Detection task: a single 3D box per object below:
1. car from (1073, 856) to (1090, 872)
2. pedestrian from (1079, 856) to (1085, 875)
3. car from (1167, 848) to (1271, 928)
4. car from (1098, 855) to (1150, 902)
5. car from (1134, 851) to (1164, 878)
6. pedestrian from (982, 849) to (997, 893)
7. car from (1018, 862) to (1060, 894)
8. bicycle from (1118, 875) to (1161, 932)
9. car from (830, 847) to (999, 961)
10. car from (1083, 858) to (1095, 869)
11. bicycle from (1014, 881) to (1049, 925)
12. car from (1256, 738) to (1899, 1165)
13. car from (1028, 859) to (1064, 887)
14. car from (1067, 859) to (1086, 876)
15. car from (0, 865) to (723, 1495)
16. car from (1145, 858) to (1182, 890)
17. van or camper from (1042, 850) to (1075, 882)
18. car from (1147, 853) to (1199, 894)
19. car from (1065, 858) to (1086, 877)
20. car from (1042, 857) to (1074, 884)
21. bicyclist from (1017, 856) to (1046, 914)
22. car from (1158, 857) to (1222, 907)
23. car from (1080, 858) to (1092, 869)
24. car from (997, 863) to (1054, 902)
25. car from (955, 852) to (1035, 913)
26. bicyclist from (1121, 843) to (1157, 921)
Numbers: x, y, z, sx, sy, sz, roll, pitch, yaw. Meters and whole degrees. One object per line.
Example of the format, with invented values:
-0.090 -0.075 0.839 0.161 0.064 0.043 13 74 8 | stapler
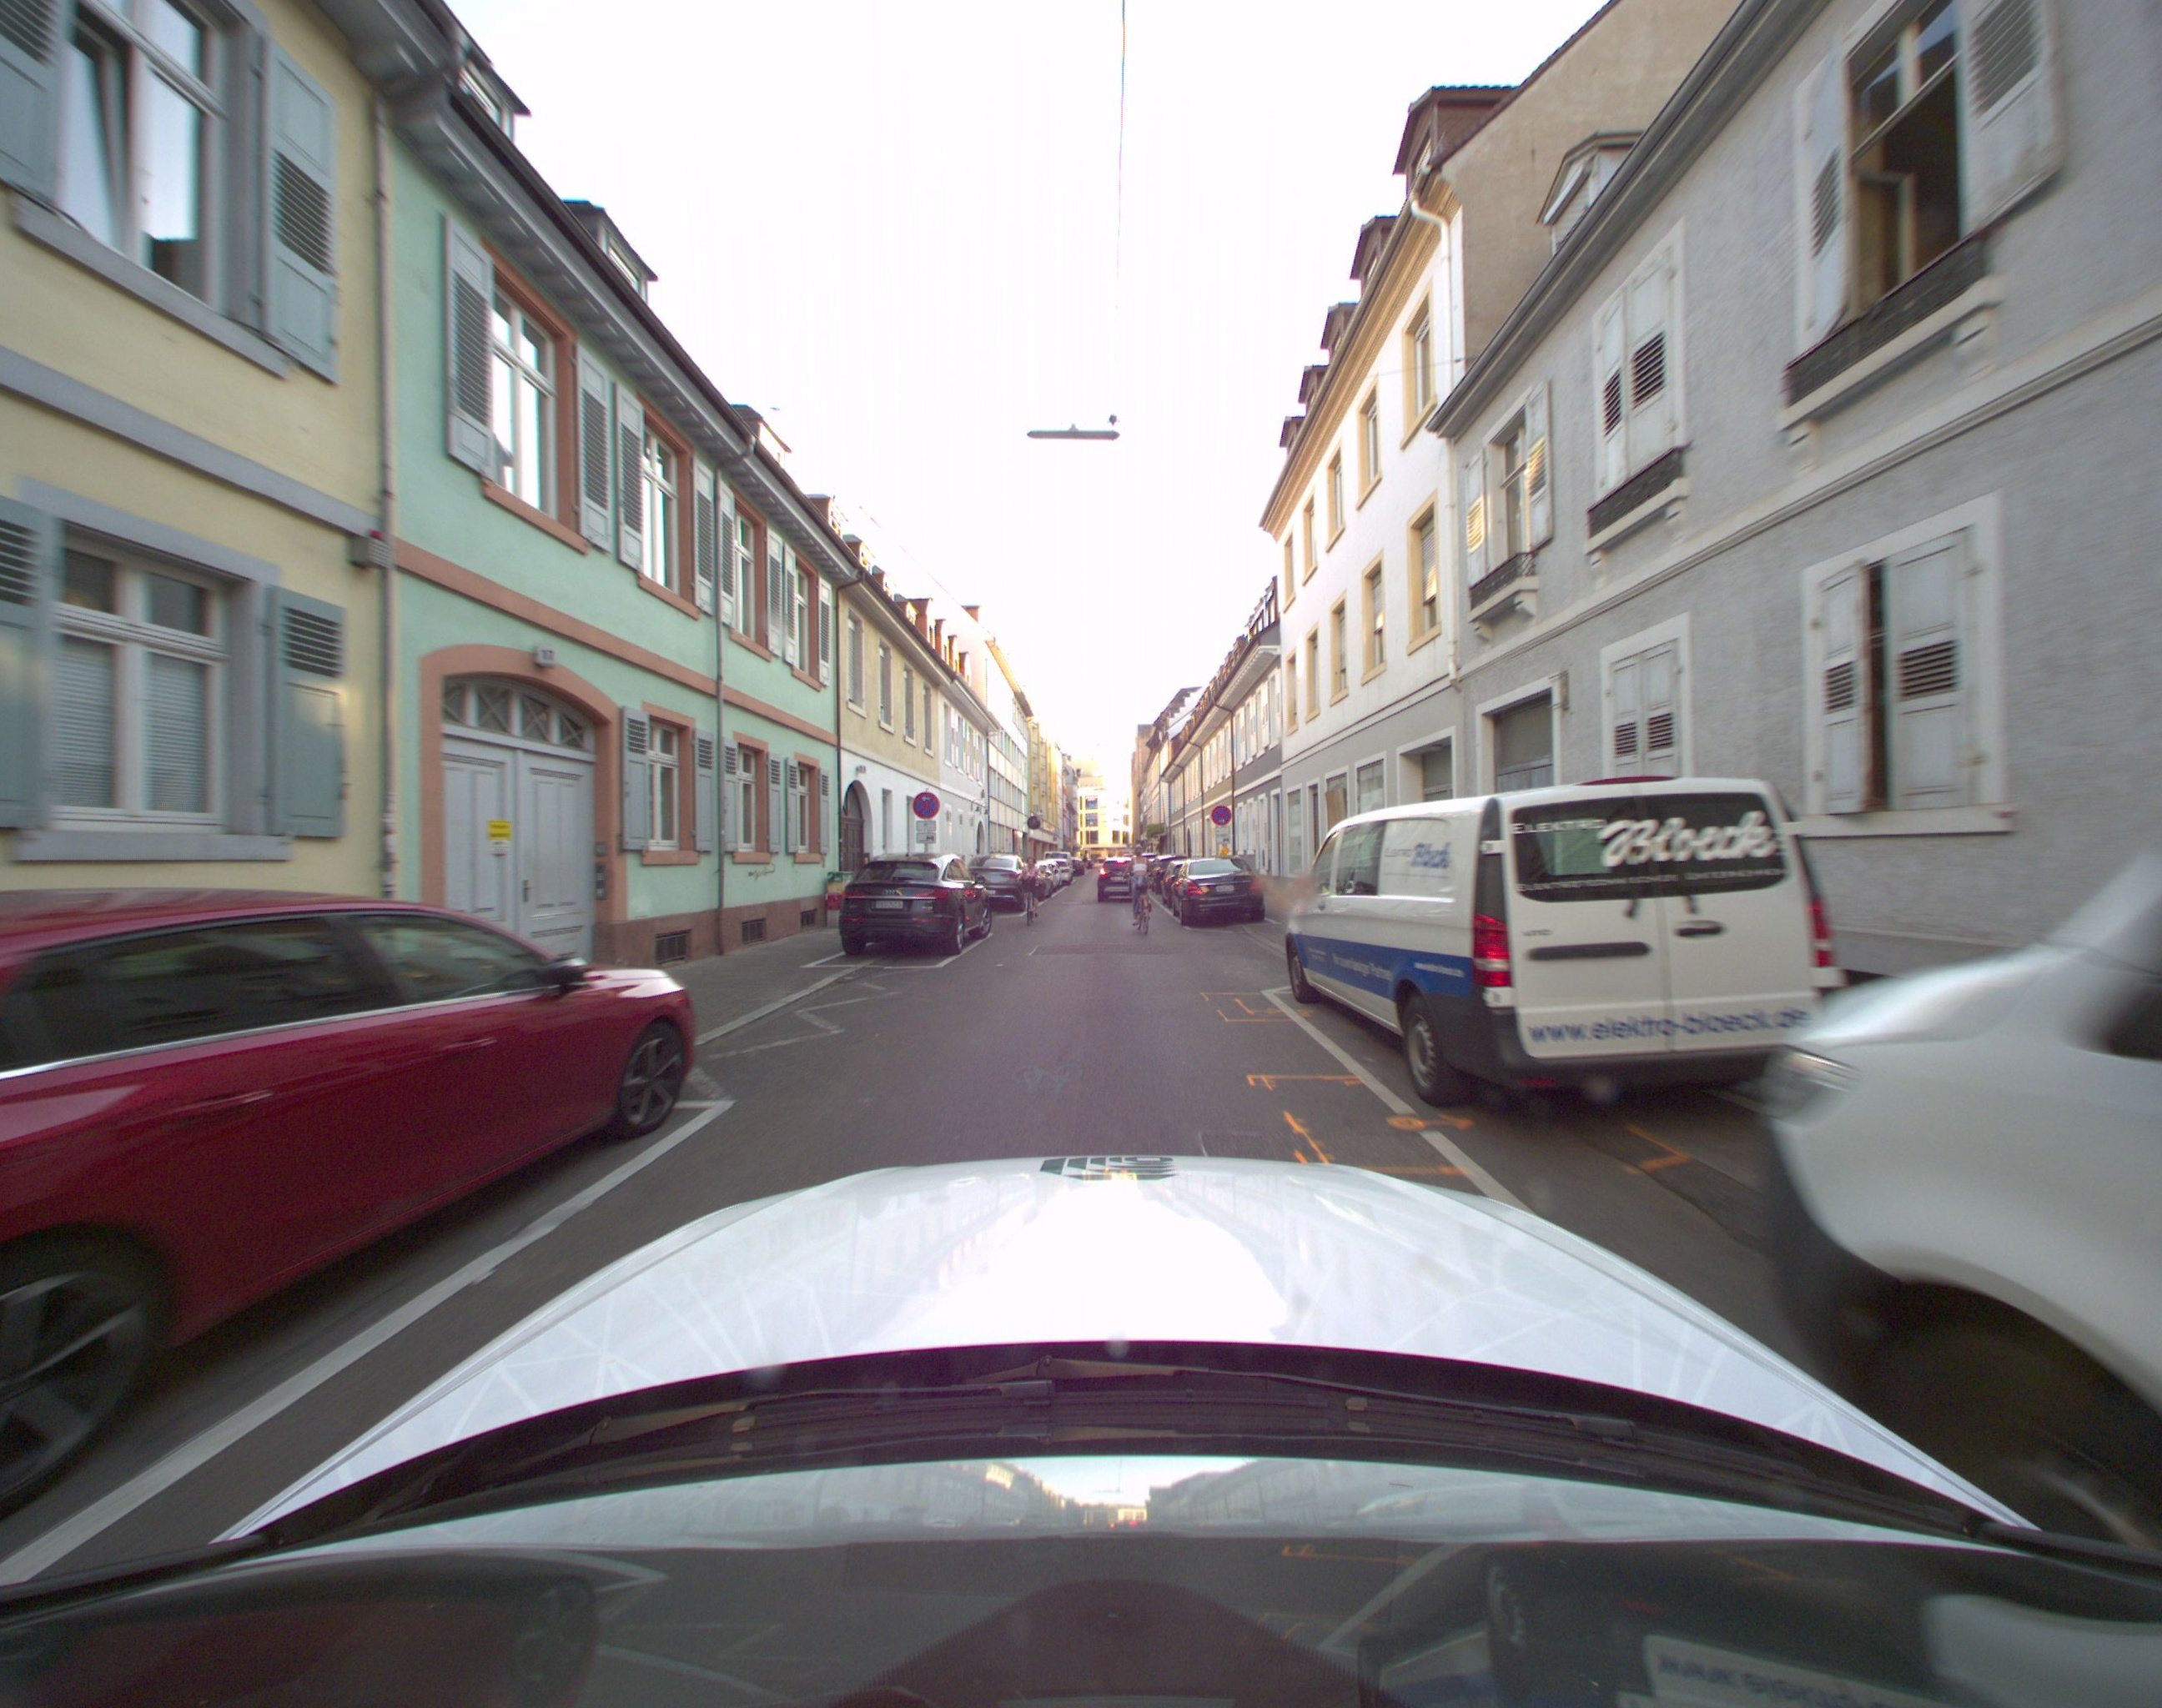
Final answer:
0.081 0.997 81.999 1.647 1.561 3.607 0 0 2 | car
0.093 1.060 74.953 0.552 1.752 0.568 -1 -1 -1 | pedestrian
3.143 0.723 19.529 1.812 1.530 5.075 -5 -1 3 | car
1.557 0.858 30.384 1.813 1.618 4.001 0 0 1 | car
4.057 0.593 48.905 1.647 1.561 3.607 0 0 2 | car
-4.185 0.769 37.316 0.608 2.014 0.450 -1 -1 -1 | pedestrian
-1.935 1.110 38.418 1.647 1.411 3.904 0 0 2 | car
1.197 0.993 16.919 0.612 1.082 1.806 -1 -1 -5 | bicycle
-2.723 0.757 14.399 1.795 1.677 4.493 -1 0 3 | car
1.232 1.414 123.142 1.647 1.561 3.607 0 0 2 | car
-1.175 1.153 19.514 0.611 0.932 1.888 -1 0 3 | bicycle
2.940 0.491 6.563 1.934 1.894 5.319 -5 -1 2 | car
-1.815 0.997 43.511 1.647 1.411 3.607 0 0 2 | car
-0.371 1.216 76.310 1.647 1.561 3.607 0 0 2 | car
-3.276 0.767 3.124 1.758 1.401 4.265 -1 0 2 | car
4.154 0.968 41.305 1.647 1.561 3.607 0 0 2 | car
-1.453 0.777 54.259 1.837 2.013 4.680 0 0 2 | van or camper
4.068 0.827 36.552 1.911 1.738 4.153 0 0 1 | car
-0.448 1.156 71.003 1.647 1.561 3.607 0 0 2 | car
-1.352 0.945 48.483 1.647 1.561 3.607 0 0 2 | car
-1.178 0.745 19.618 0.603 1.369 0.622 -1 -1 4 | bicyclist
3.463 0.841 26.460 1.670 1.486 4.002 0 0 2 | car
0.748 1.368 116.378 1.647 1.561 3.607 0 0 2 | car
-2.105 1.072 32.138 1.912 1.434 4.293 0 0 0 | car
-2.580 0.824 25.501 1.991 1.707 4.535 0 0 0 | car
1.198 0.568 16.839 0.620 1.574 0.682 -1 -1 -5 | bicyclist
